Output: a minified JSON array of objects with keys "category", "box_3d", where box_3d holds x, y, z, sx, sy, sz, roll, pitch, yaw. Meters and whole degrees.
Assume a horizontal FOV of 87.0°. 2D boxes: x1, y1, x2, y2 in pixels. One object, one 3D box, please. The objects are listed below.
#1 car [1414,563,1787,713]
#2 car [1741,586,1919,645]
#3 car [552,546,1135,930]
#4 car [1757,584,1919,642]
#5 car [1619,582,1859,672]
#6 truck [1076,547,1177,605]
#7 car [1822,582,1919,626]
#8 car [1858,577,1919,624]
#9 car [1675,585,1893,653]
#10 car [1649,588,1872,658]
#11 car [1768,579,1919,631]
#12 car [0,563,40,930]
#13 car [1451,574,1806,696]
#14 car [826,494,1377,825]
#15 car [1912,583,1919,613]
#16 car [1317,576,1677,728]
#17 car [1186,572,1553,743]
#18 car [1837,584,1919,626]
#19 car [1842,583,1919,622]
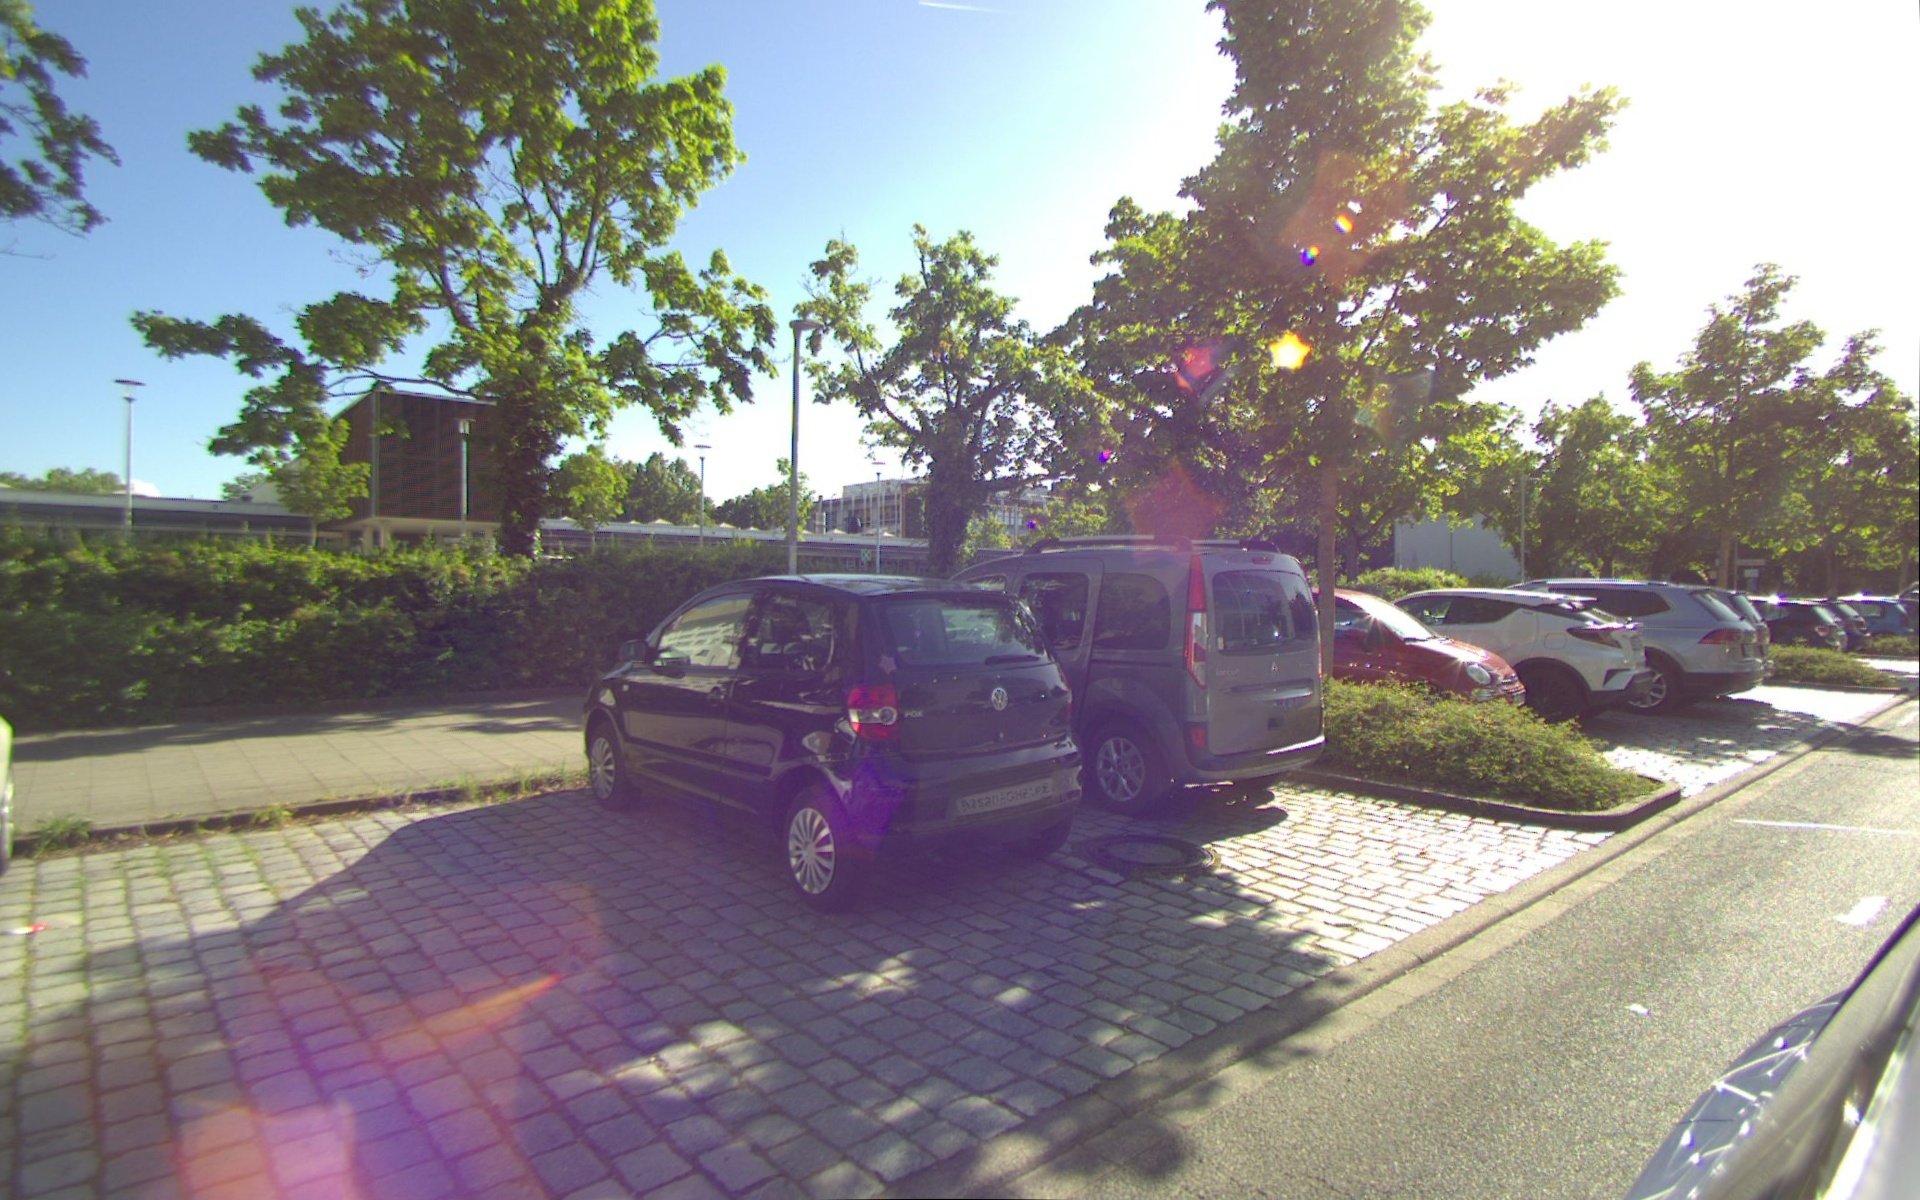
[{"category":"car","box_3d":[8.507,0.426,13.672,1.907,1.717,3.904,1,0,-42]},{"category":"car","box_3d":[23.674,0.378,27.320,1.593,1.486,3.904,1,0,-42]},{"category":"car","box_3d":[-0.916,0.552,6.057,1.677,1.569,3.611,1,0,-42]},{"category":"car","box_3d":[25.539,0.333,28.872,1.707,1.538,4.192,0,1,-42]},{"category":"car","box_3d":[15.081,0.452,19.709,1.717,1.507,3.458,-2,3,-42]},{"category":"truck","box_3d":[11.637,-1.613,71.297,2.760,3.855,6.918,1,0,-38]},{"category":"car","box_3d":[32.542,0.122,35.077,1.644,1.444,3.904,-1,2,-42]},{"category":"car","box_3d":[39.243,0.041,40.904,1.847,1.869,4.163,0,2,-40]},{"category":"car","box_3d":[20.267,0.407,25.013,1.809,1.516,3.904,0,1,-39]},{"category":"car","box_3d":[18.378,0.457,23.346,1.809,1.434,3.741,0,1,-39]},{"category":"car","box_3d":[28.803,0.151,32.790,1.651,1.598,3.904,1,0,-42]},{"category":"car","box_3d":[-4.312,0.604,3.269,1.710,1.443,4.072,-1,2,-39]},{"category":"car","box_3d":[10.271,0.423,15.788,1.880,1.628,4.324,0,1,-44]},{"category":"car","box_3d":[0.906,0.336,8.172,1.944,1.952,4.124,1,0,-42]},{"category":"car","box_3d":[52.643,-0.058,52.833,1.798,1.618,4.161,0,2,-42]},{"category":"car","box_3d":[6.339,0.516,12.154,3.498,1.549,1.710,1,0,45]},{"category":"car","box_3d":[4.310,0.478,10.889,3.361,1.549,1.577,1,2,42]},{"category":"car","box_3d":[34.777,0.183,36.996,1.777,1.454,3.905,0,2,-42]},{"category":"car","box_3d":[36.695,0.116,38.797,1.798,1.423,4.161,-1,2,-42]}]
